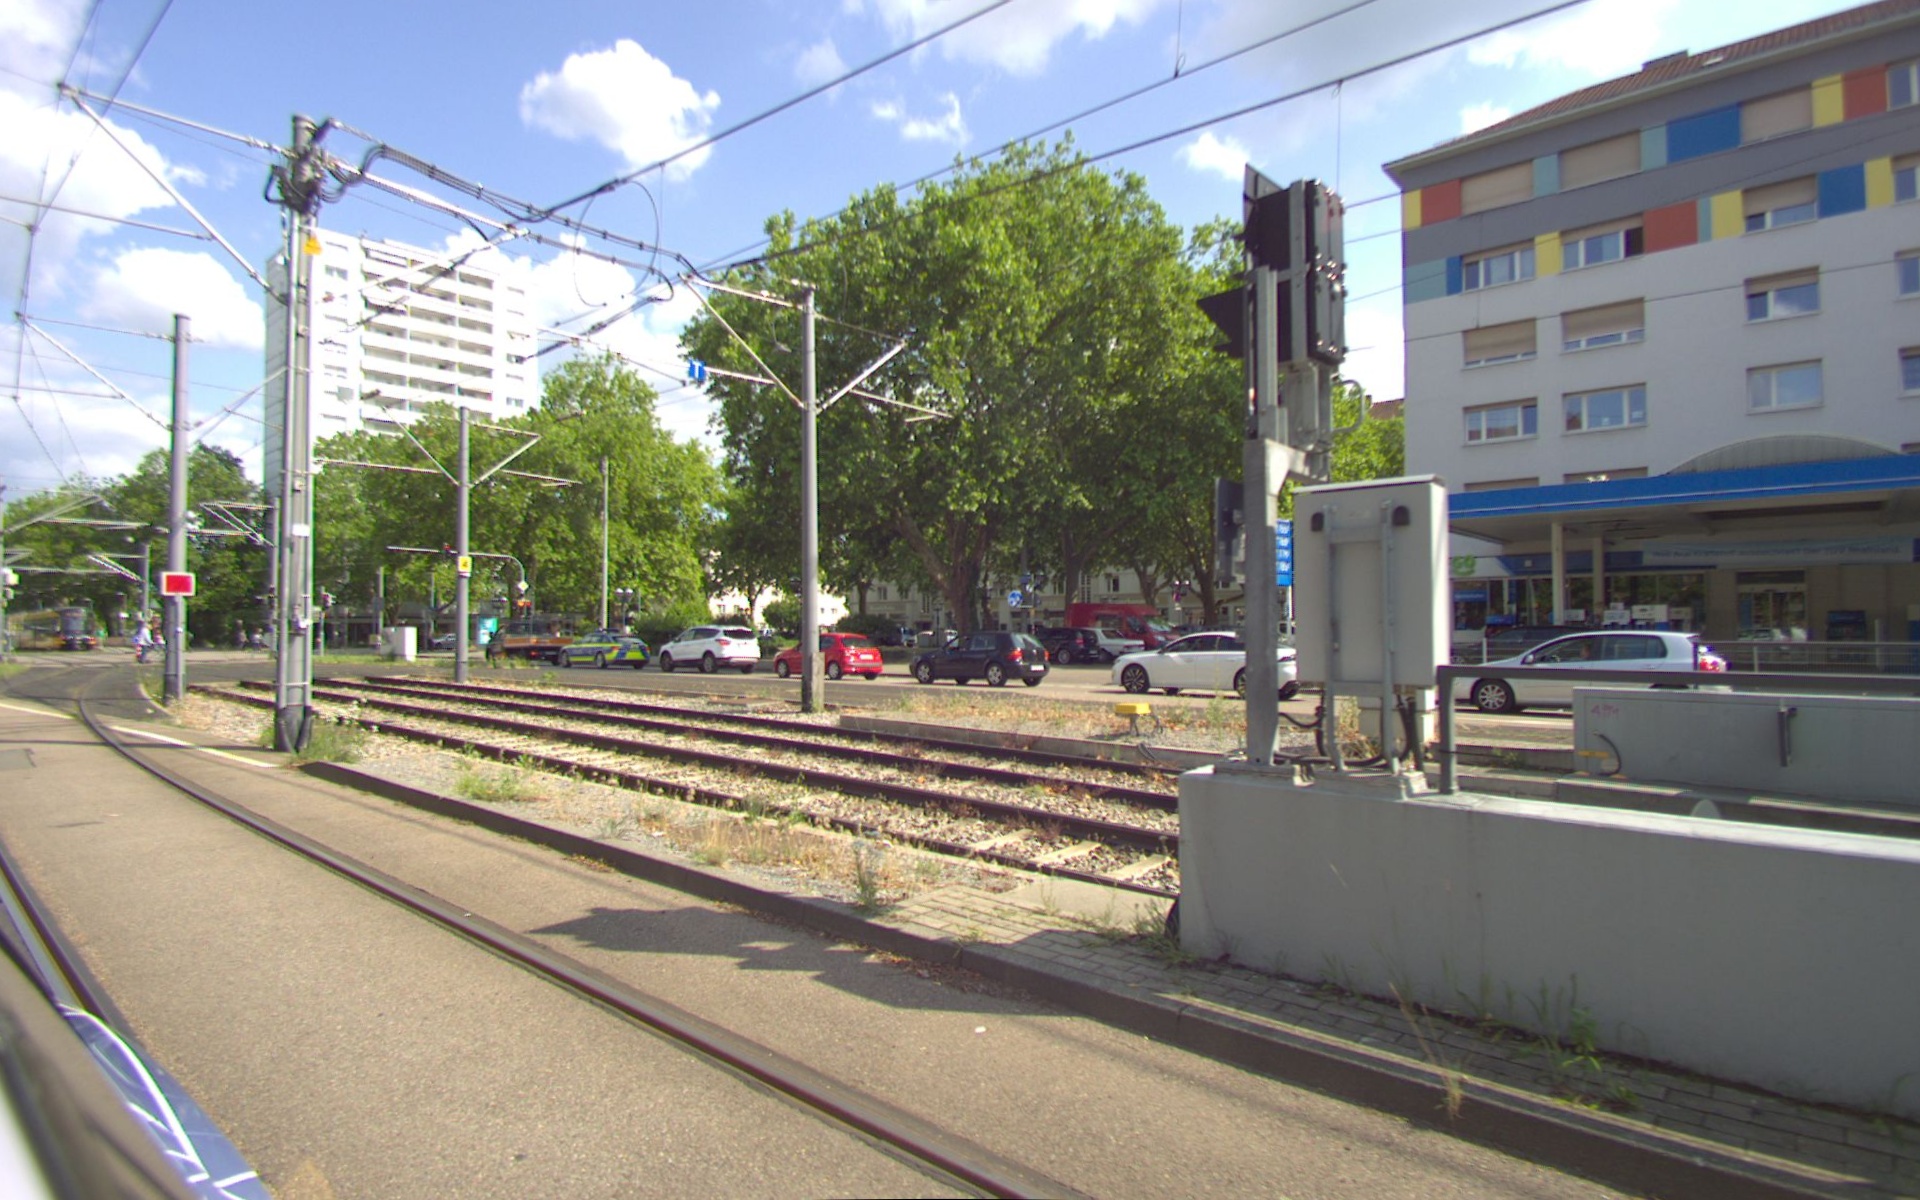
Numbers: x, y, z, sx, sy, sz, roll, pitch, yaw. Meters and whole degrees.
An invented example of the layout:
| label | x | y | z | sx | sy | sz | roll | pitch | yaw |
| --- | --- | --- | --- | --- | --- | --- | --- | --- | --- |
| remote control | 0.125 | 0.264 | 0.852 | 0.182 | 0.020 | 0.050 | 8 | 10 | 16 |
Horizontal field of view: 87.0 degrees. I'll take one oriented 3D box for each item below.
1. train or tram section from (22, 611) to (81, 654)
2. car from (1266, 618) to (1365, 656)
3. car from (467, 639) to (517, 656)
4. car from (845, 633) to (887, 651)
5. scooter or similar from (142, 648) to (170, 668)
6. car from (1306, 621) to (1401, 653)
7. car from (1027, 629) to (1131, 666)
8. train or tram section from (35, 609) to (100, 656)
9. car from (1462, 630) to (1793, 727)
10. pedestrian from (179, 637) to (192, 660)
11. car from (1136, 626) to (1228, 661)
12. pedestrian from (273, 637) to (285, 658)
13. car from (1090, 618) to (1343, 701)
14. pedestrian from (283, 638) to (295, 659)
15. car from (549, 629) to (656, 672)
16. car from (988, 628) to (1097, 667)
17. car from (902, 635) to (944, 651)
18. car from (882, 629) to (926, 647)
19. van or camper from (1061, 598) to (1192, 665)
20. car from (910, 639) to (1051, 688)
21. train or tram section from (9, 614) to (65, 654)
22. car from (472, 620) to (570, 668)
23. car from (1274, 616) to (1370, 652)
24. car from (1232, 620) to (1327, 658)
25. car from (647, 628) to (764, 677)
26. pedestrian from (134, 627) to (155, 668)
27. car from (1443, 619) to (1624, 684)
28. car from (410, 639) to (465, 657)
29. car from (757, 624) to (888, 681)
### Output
| label | x | y | z | sx | sy | sz | roll | pitch | yaw |
| --- | --- | --- | --- | --- | --- | --- | --- | --- | --- |
| train or tram section | -79.491 | 2.883 | 88.475 | 11.181 | 3.588 | 2.775 | -2 | -3 | 43 |
| car | 21.090 | 2.232 | 60.163 | 5.245 | 2.102 | 1.975 | -2 | -5 | 37 |
| car | -43.439 | 4.367 | 94.010 | 1.847 | 1.501 | 4.048 | -1 | -2 | 20 |
| car | -9.007 | 4.019 | 97.261 | 1.849 | 1.672 | 4.031 | -2 | -2 | 38 |
| scooter or similar | -34.917 | 2.518 | 43.968 | 0.553 | 0.810 | 0.830 | -2 | -3 | 37 |
| car | 24.726 | 2.330 | 63.680 | 5.247 | 1.886 | 1.974 | -2 | -5 | 39 |
| car | 4.870 | 1.952 | 41.728 | 3.998 | 1.421 | 1.734 | -2 | -3 | 41 |
| train or tram section | -71.291 | 2.622 | 80.749 | 11.376 | 3.588 | 2.765 | -2 | -3 | 43 |
| car | 11.091 | 1.255 | 17.051 | 4.405 | 1.427 | 1.702 | -3 | -4 | 43 |
| pedestrian | -58.471 | 3.678 | 76.383 | 0.648 | 1.716 | 0.662 | -3 | -3 | 44 |
| car | 10.446 | 2.060 | 47.818 | 3.998 | 1.616 | 1.510 | -2 | -4 | 41 |
| pedestrian | -55.729 | 3.911 | 82.855 | 0.648 | 1.716 | 0.662 | -3 | -3 | 44 |
| car | 5.533 | 1.267 | 22.270 | 5.075 | 1.619 | 1.926 | -1 | -4 | 42 |
| pedestrian | -54.030 | 3.908 | 81.454 | 0.648 | 1.716 | 0.662 | -3 | -3 | 44 |
| car | -14.599 | 2.062 | 41.135 | 5.152 | 1.665 | 1.846 | -3 | -4 | 42 |
| car | 3.197 | 1.851 | 39.611 | 3.998 | 1.421 | 1.734 | -2 | -3 | 41 |
| car | -3.328 | 3.919 | 91.906 | 1.866 | 1.364 | 3.895 | -2 | -2 | 36 |
| car | -5.165 | 3.521 | 94.111 | 1.996 | 1.697 | 3.950 | -2 | -3 | 36 |
| van or camper | 7.098 | 1.415 | 43.525 | 5.350 | 2.662 | 2.079 | -3 | -5 | 43 |
| car | 0.494 | 1.665 | 26.954 | 3.633 | 1.198 | 1.598 | -3 | -3 | 43 |
| train or tram section | -87.966 | 3.278 | 96.365 | 12.154 | 3.588 | 2.775 | -2 | -3 | 42 |
| car | -19.916 | 2.034 | 45.829 | 5.333 | 2.002 | 2.053 | -4 | -4 | 42 |
| car | 22.380 | 2.126 | 62.628 | 5.248 | 2.102 | 1.973 | -2 | -5 | 40 |
| car | 17.710 | 2.191 | 56.233 | 4.680 | 1.949 | 1.973 | -2 | -5 | 41 |
| car | -9.122 | 1.855 | 36.097 | 4.677 | 1.619 | 1.741 | -2 | -3 | 42 |
| pedestrian | -35.171 | 2.064 | 43.645 | 0.556 | 1.746 | 0.521 | -2 | -3 | 37 |
| car | 15.418 | 1.403 | 27.297 | 3.873 | 1.619 | 1.882 | -4 | -4 | 42 |
| car | -45.380 | 4.117 | 87.902 | 1.850 | 1.501 | 3.966 | -2 | -2 | 25 |
| car | -4.272 | 1.633 | 31.008 | 4.142 | 1.619 | 1.694 | -4 | -4 | 42 |
